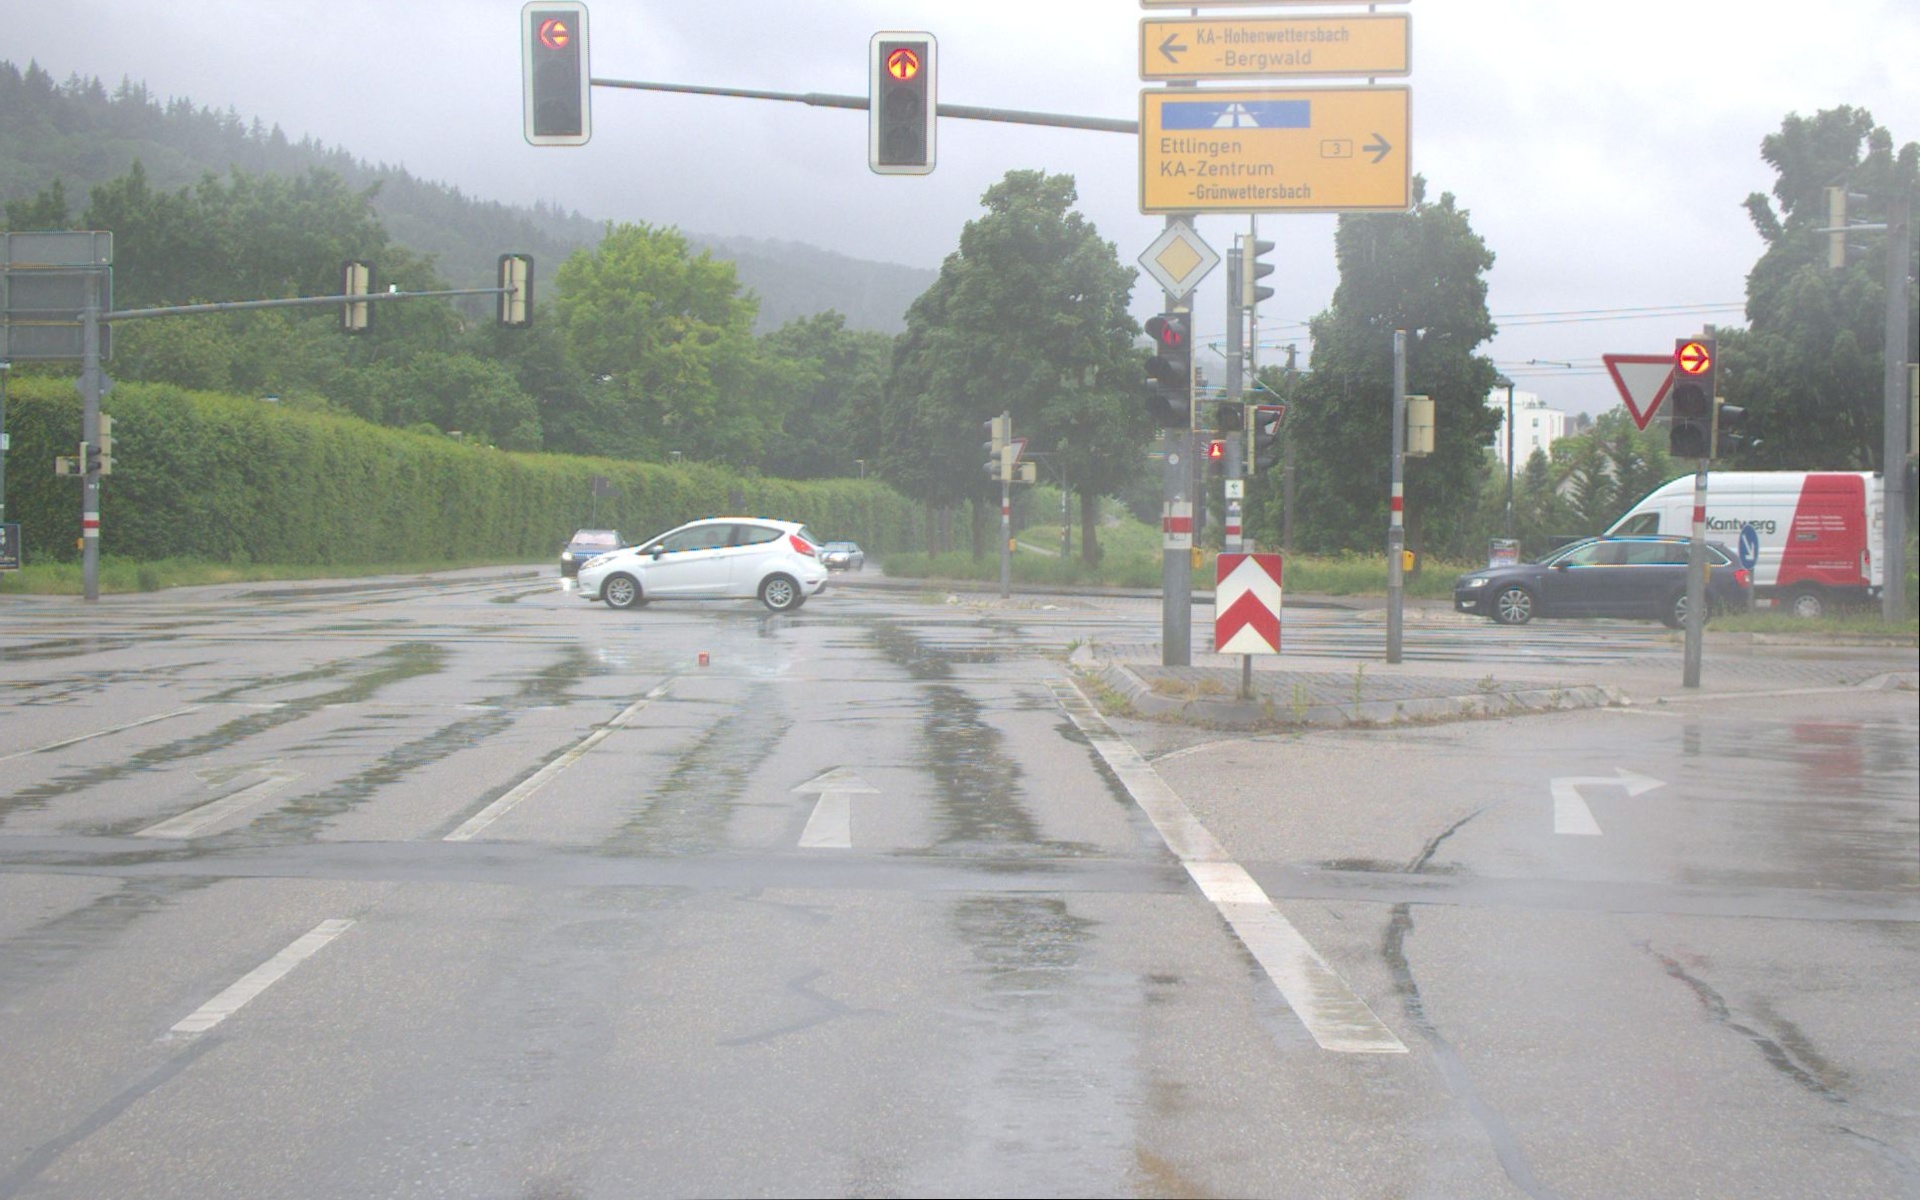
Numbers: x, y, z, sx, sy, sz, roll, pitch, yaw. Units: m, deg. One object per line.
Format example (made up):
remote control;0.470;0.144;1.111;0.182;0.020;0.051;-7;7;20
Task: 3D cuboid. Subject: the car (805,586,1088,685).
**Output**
car;-0.194;0.586;57.861;4.670;1.548;1.822;0;2;3

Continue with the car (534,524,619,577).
car;-11.951;-1.560;107.408;1.879;1.568;4.644;-1;1;3

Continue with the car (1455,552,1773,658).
car;10.144;0.064;53.561;4.670;1.548;1.822;1;2;4

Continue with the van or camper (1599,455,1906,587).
van or camper;13.812;-1.398;59.928;4.855;2.161;2.158;2;2;23

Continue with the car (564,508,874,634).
car;-3.774;-0.476;54.380;4.670;1.909;1.915;1;2;4
